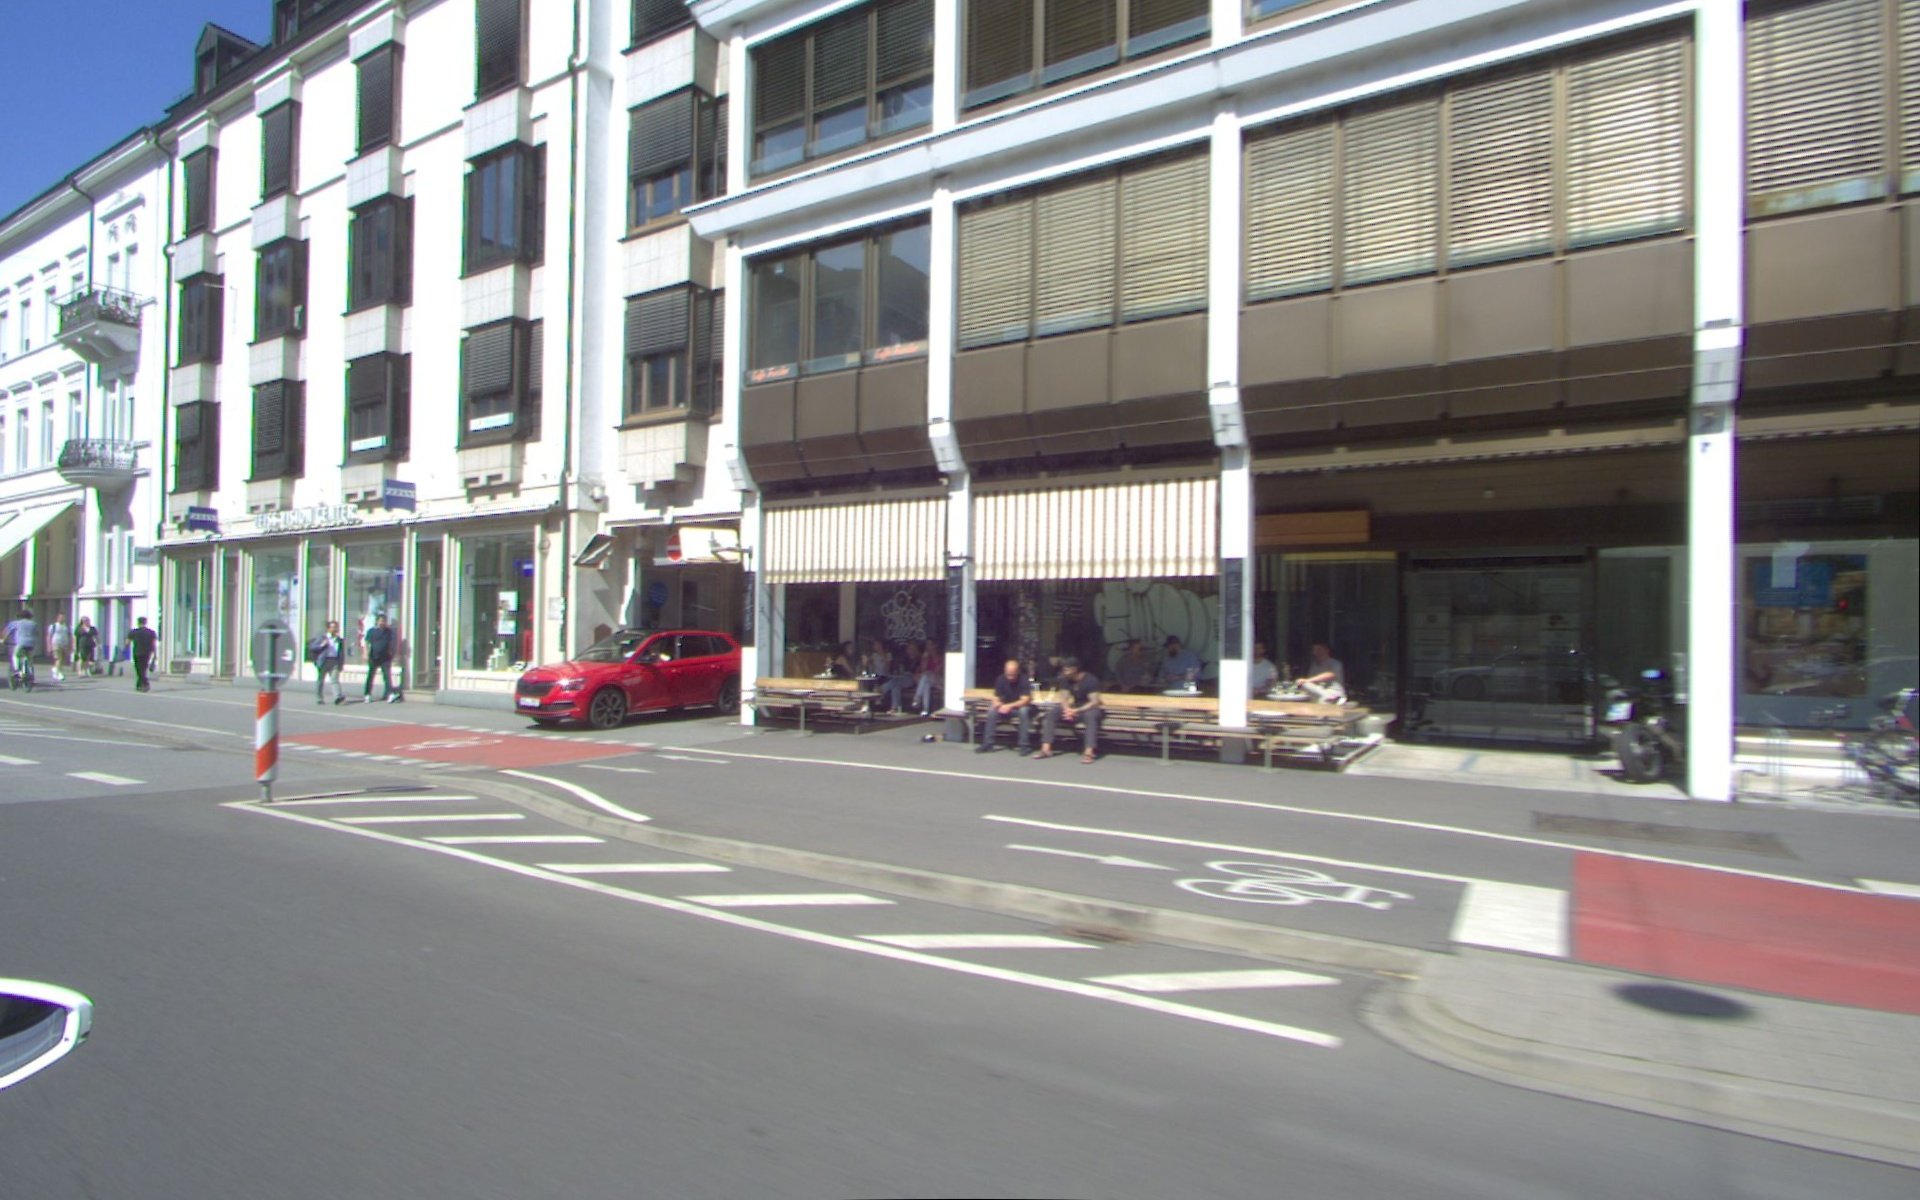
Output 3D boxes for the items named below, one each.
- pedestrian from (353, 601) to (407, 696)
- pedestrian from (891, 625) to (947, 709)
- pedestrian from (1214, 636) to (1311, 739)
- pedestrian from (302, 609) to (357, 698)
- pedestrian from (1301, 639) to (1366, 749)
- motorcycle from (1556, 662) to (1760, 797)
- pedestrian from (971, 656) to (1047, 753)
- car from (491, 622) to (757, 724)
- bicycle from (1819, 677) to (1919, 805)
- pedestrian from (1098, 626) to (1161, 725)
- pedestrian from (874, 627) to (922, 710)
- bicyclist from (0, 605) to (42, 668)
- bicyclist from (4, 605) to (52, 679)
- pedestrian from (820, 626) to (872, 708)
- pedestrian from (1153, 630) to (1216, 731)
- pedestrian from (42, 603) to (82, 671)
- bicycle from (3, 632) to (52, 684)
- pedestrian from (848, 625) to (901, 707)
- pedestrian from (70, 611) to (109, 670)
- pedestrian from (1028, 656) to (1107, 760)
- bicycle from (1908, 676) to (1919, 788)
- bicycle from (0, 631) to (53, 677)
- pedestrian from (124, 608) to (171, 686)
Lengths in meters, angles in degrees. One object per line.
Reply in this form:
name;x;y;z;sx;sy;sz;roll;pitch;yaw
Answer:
pedestrian;-11.778;0.991;20.332;0.826;1.873;0.691;-2;-3;41
pedestrian;-0.687;1.130;17.006;0.529;1.385;0.876;0;-2;31
pedestrian;4.219;1.194;13.955;1.089;1.367;0.895;-2;-3;31
pedestrian;-12.430;1.048;19.743;0.826;1.707;0.691;0;-2;41
pedestrian;5.026;1.242;13.459;0.687;1.414;0.710;-2;-2;31
motorcycle;7.562;1.334;10.831;2.211;1.306;0.944;1;-3;-30
pedestrian;0.633;1.319;12.840;0.689;1.187;0.708;-2;-3;41
car;-5.555;1.175;17.002;1.817;1.513;4.036;-3;-3;33
bicycle;9.092;1.342;9.757;0.273;1.110;2.240;1;-2;19
pedestrian;2.539;1.115;14.968;0.686;1.414;0.812;-1;-2;30
pedestrian;-1.060;1.166;17.273;0.471;1.385;0.760;0;-2;31
bicyclist;-23.727;0.928;25.222;0.856;1.548;0.620;0;-2;31
bicyclist;-21.185;0.943;22.757;0.826;1.646;0.691;-1;-2;40
pedestrian;-1.971;1.152;17.337;0.679;1.385;0.534;0;-2;33
pedestrian;3.273;1.161;14.575;0.687;1.414;0.710;-2;-2;31
pedestrian;-24.507;1.021;27.323;1.006;1.800;0.572;-2;-2;35
bicycle;-21.313;1.313;22.871;1.780;1.135;0.592;0;-2;41
pedestrian;-1.497;1.149;17.575;0.576;1.385;0.743;0;-2;31
pedestrian;-24.733;1.154;28.463;0.811;1.637;0.644;-2;-2;35
pedestrian;1.329;1.308;12.359;0.689;1.232;0.708;-2;-3;41
bicycle;9.624;1.316;9.457;0.273;1.134;2.237;1;-2;25
bicycle;-23.712;1.348;25.203;2.318;1.113;0.620;-1;-3;31
pedestrian;-18.648;1.089;22.990;0.824;1.741;0.619;-3;-3;35
